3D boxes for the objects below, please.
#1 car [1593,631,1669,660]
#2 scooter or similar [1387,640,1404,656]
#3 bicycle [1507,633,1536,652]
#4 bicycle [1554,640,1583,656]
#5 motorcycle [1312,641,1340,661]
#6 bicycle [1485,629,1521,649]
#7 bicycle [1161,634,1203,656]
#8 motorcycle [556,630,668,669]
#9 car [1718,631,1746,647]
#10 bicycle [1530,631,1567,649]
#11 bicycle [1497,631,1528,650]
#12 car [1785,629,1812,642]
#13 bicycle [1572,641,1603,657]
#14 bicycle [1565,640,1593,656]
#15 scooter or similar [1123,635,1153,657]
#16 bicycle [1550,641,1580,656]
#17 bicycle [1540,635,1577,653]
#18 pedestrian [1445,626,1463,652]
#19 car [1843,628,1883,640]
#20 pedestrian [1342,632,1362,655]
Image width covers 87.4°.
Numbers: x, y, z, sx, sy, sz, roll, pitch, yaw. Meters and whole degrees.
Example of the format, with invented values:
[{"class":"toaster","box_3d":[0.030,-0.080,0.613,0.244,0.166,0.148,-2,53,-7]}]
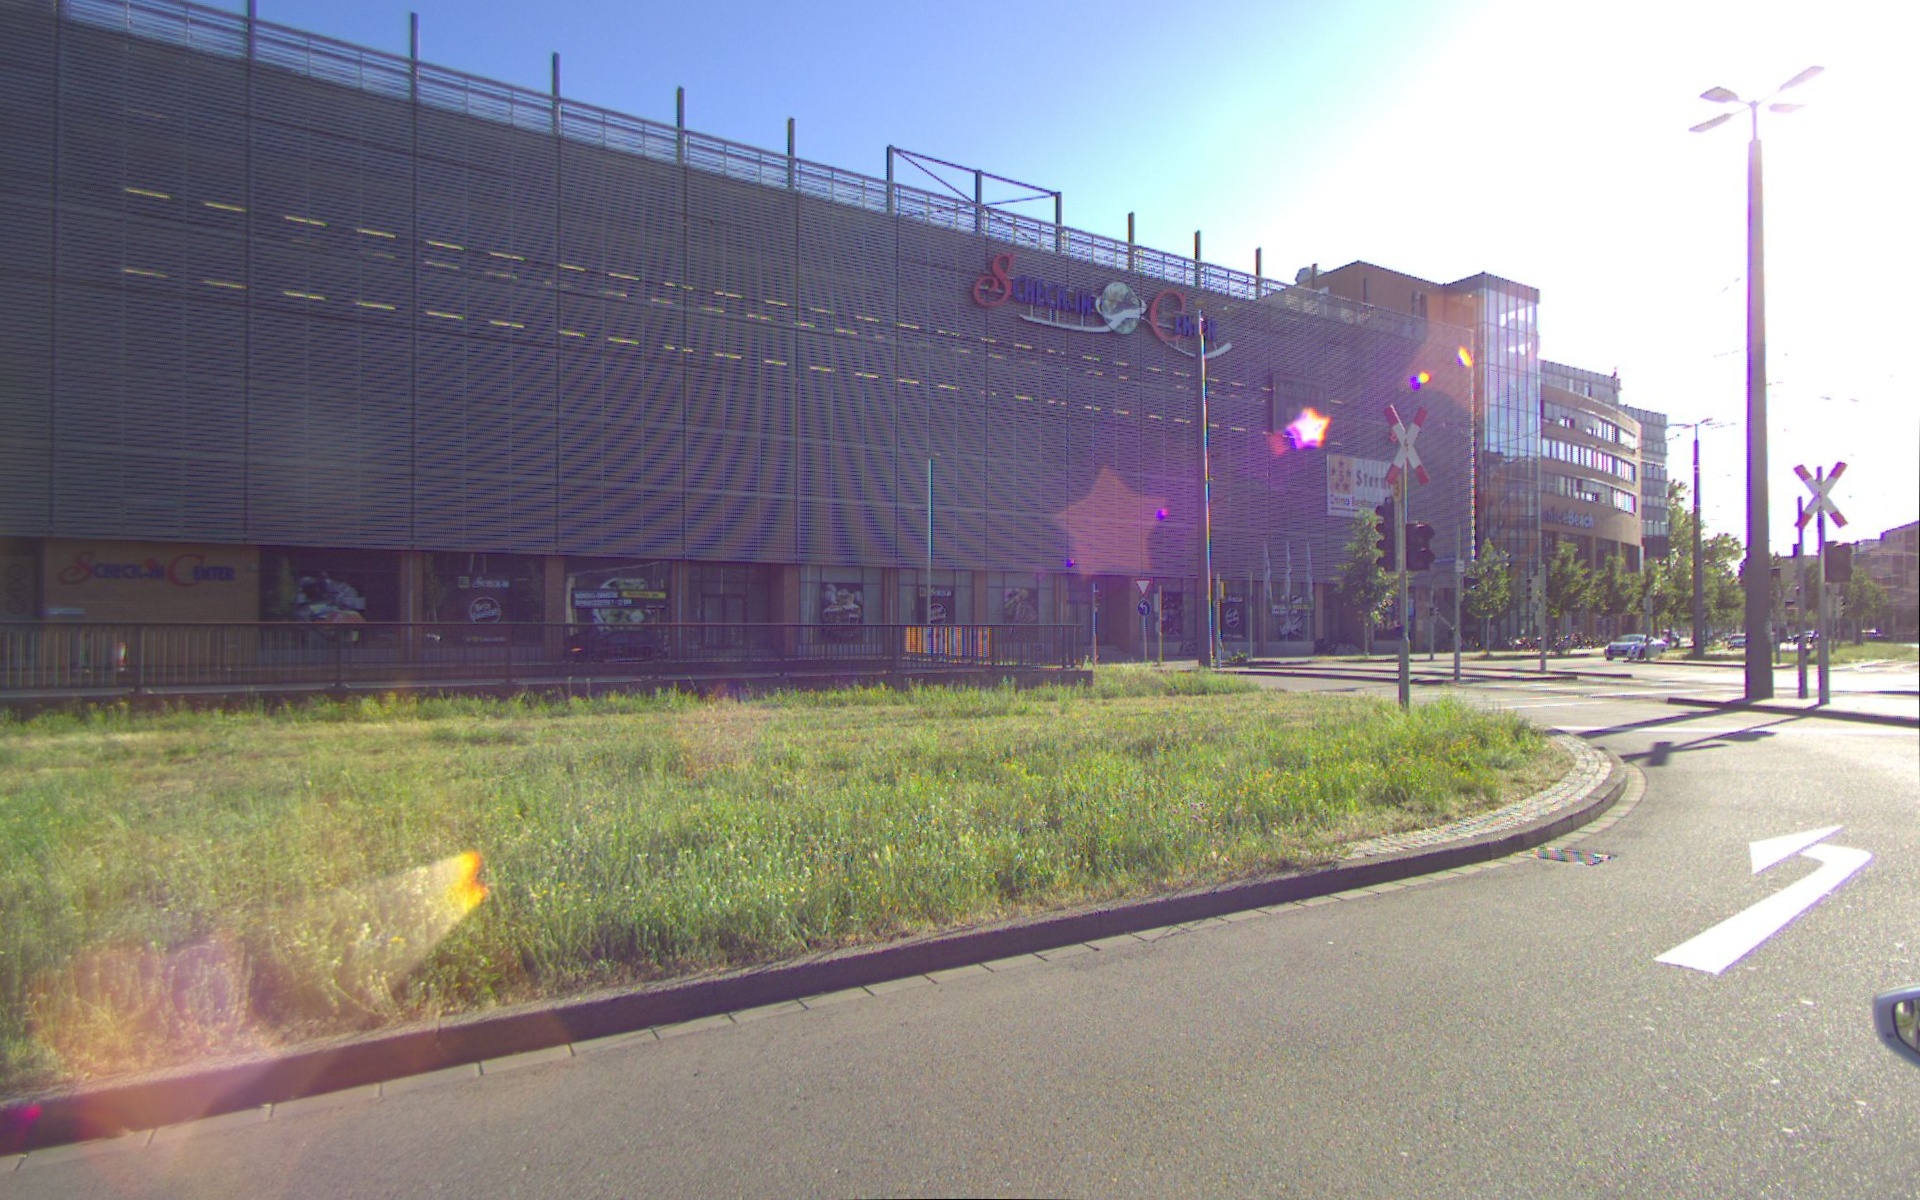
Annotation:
[{"class":"car","box_3d":[37.607,2.522,56.273,4.481,1.566,1.982,1,-2,-33]},{"class":"scooter or similar","box_3d":[30.081,3.324,69.379,1.138,1.124,0.419,2,-3,-30]},{"class":"bicycle","box_3d":[44.239,3.362,79.166,0.795,1.452,1.975,1,-3,-21]},{"class":"bicycle","box_3d":[54.691,4.323,90.319,0.707,1.452,2.242,1,-3,-21]},{"class":"motorcycle","box_3d":[23.179,3.221,63.602,1.872,1.255,0.672,2,-3,-31]},{"class":"bicycle","box_3d":[42.287,3.042,78.252,1.060,1.452,2.366,1,-3,-21]},{"class":"bicycle","box_3d":[12.597,2.556,56.919,2.384,1.237,0.797,1,-2,-27]},{"class":"motorcycle","box_3d":[-13.940,1.953,40.293,3.953,1.472,1.984,1,-2,-31]},{"class":"car","box_3d":[72.912,3.662,94.892,1.869,1.425,3.987,-2,-2,35]},{"class":"bicycle","box_3d":[47.464,3.231,81.065,0.891,1.452,2.558,1,-3,-21]},{"class":"bicycle","box_3d":[43.277,3.168,78.648,0.848,1.452,2.080,1,-3,-21]},{"class":"car","box_3d":[105.465,4.472,126.290,4.377,1.661,1.976,2,-2,-41]},{"class":"bicycle","box_3d":[57.361,4.480,91.901,0.777,1.452,2.417,1,-3,-21]},{"class":"bicycle","box_3d":[56.367,4.372,91.448,0.747,1.452,2.135,1,-3,-21]},{"class":"scooter or similar","box_3d":[10.186,2.661,57.612,1.555,1.222,0.790,2,-3,-30]},{"class":"bicycle","box_3d":[54.040,4.339,89.762,0.734,1.252,2.410,1,-3,-21]},{"class":"bicycle","box_3d":[49.174,3.597,82.548,0.891,1.452,2.558,1,-3,-21]},{"class":"pedestrian","box_3d":[35.466,2.791,72.117,0.894,1.848,0.823,2,-3,-29]},{"class":"car","box_3d":[125.981,4.735,140.072,4.335,1.661,1.996,1,-1,-12]},{"class":"pedestrian","box_3d":[26.902,2.992,68.904,0.819,1.586,0.983,2,-3,-30]}]
